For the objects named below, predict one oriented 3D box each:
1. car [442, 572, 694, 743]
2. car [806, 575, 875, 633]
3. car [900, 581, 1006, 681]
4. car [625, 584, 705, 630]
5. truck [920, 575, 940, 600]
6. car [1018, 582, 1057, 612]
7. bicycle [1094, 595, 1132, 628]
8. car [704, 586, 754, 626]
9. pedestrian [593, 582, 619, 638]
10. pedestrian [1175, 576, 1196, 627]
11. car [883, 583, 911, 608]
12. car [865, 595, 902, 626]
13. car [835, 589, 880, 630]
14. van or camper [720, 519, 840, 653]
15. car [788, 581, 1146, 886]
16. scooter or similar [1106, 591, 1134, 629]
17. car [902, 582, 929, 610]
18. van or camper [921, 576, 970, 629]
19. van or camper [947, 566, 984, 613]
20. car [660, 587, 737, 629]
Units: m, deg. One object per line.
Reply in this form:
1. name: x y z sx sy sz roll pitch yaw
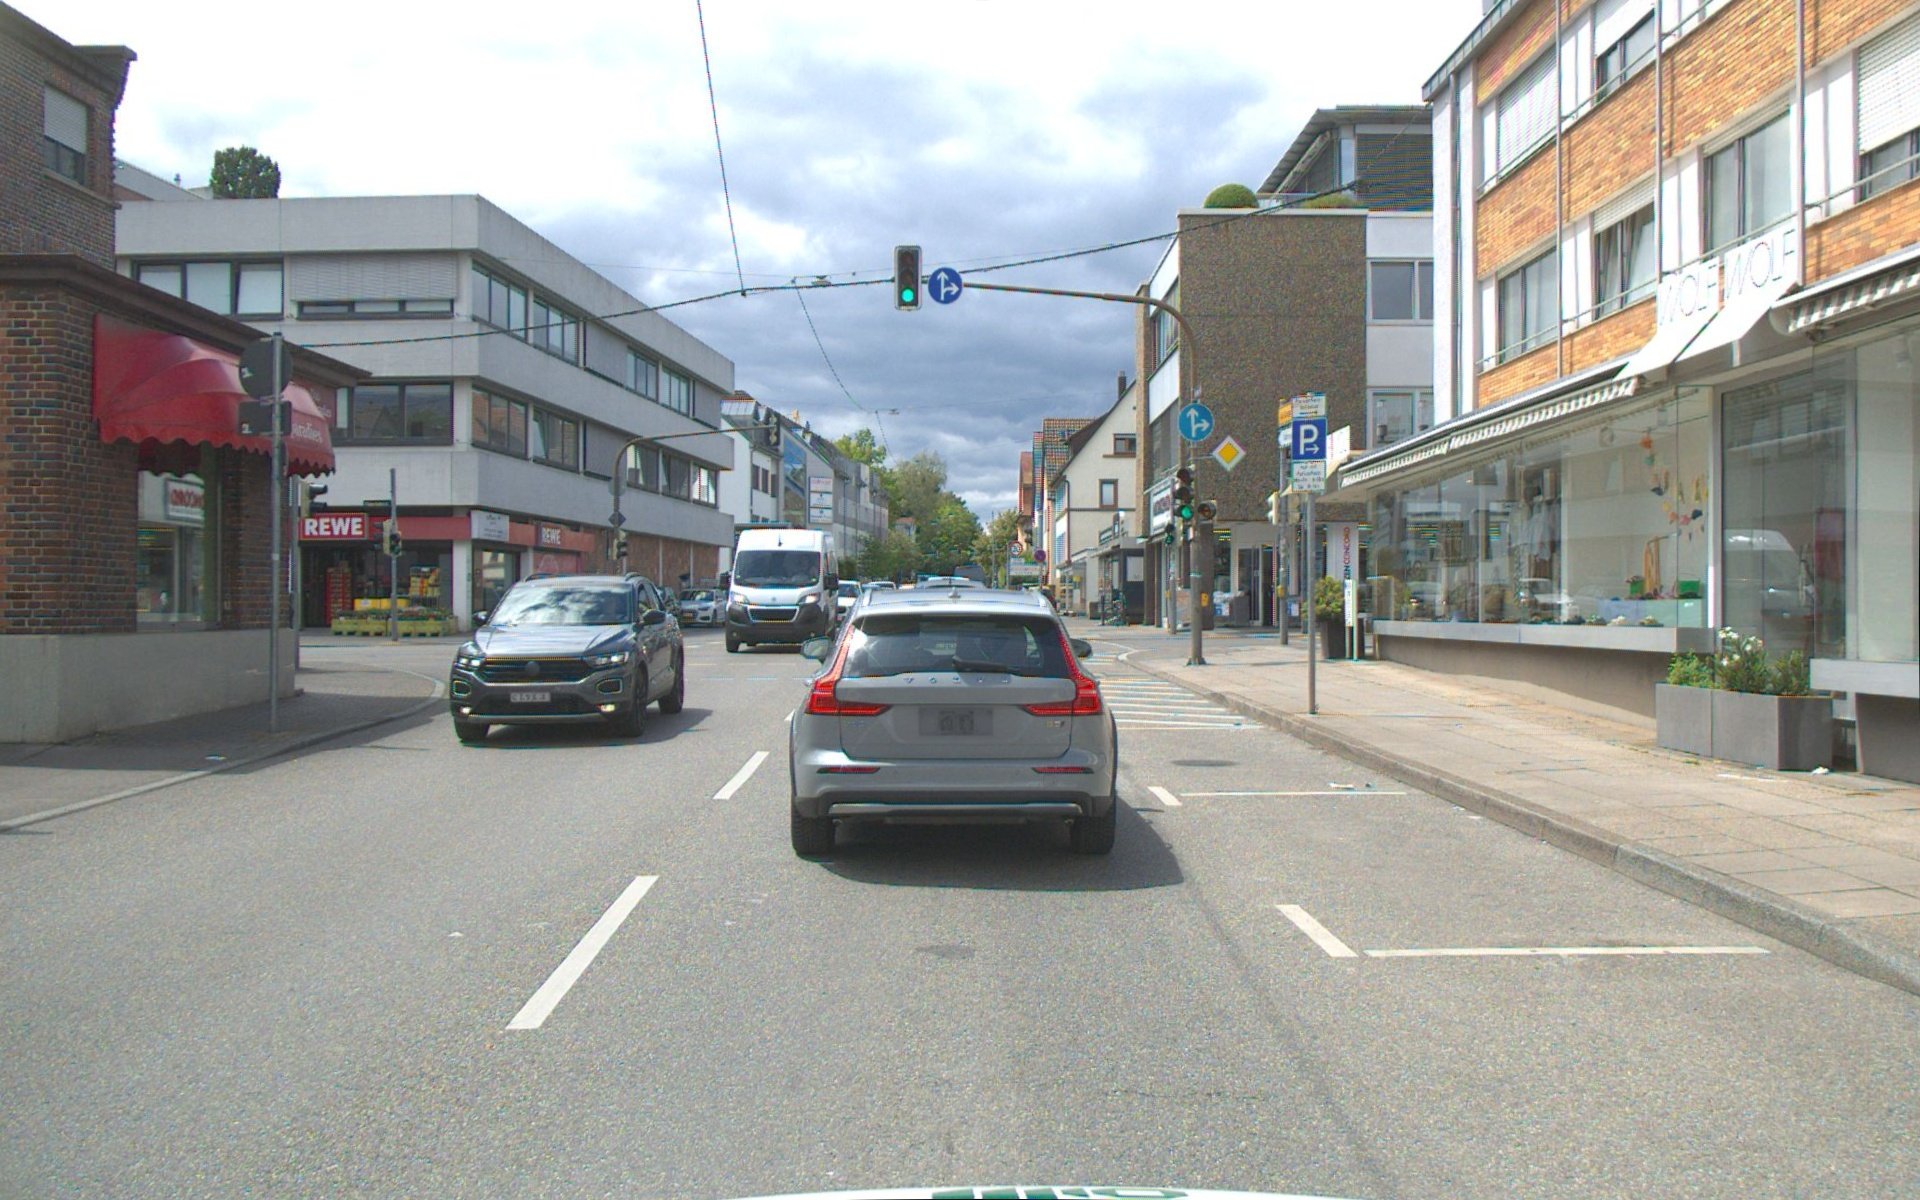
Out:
1. car: -3.884 0.489 17.016 1.754 1.537 3.844 -1 1 -2
2. car: -3.688 0.112 51.507 1.744 1.668 4.221 -2 0 1
3. car: -0.130 0.481 27.168 1.617 1.508 3.606 1 0 -1
4. car: -10.018 0.230 56.501 1.747 1.490 4.088 1 0 3
5. truck: -3.612 -1.476 199.335 2.229 2.937 7.079 -1 0 1
6. car: 4.012 -0.136 85.855 1.676 1.490 3.998 1 -1 -2
7. bicycle: 5.624 0.412 60.850 0.546 1.164 2.288 -1 0 -18
8. car: -9.508 0.218 68.115 1.574 1.570 2.944 2 0 0
9. pedestrian: -10.588 0.301 49.438 0.606 1.670 0.660 -1 0 1
10. pedestrian: 6.653 0.037 48.773 0.493 1.484 0.500 -3 -1 13
11. car: -4.024 -0.267 106.364 1.634 1.581 4.215 0 0 1
12. car: -3.894 0.521 84.542 1.648 1.523 3.967 -1 0 0
13. car: -4.210 0.393 68.475 1.753 1.617 4.099 -1 -1 -2
14. van or camper: -3.711 -0.325 35.035 2.105 2.601 5.436 -1 1 -2
15. car: 0.011 0.648 10.310 1.798 1.512 4.000 0 1 -1
16. scooter or similar: 5.595 0.360 57.969 0.336 1.275 1.235 -2 -1 -26
17. car: -3.126 -0.278 117.220 1.800 1.951 4.155 1 0 -1
18. van or camper: -0.537 0.117 61.435 1.782 1.867 3.999 0 -2 -1
19. van or camper: 0.359 -0.624 97.746 2.079 2.733 4.781 -1 0 1
20. car: -9.784 0.278 62.214 1.864 1.468 4.445 1 0 4
